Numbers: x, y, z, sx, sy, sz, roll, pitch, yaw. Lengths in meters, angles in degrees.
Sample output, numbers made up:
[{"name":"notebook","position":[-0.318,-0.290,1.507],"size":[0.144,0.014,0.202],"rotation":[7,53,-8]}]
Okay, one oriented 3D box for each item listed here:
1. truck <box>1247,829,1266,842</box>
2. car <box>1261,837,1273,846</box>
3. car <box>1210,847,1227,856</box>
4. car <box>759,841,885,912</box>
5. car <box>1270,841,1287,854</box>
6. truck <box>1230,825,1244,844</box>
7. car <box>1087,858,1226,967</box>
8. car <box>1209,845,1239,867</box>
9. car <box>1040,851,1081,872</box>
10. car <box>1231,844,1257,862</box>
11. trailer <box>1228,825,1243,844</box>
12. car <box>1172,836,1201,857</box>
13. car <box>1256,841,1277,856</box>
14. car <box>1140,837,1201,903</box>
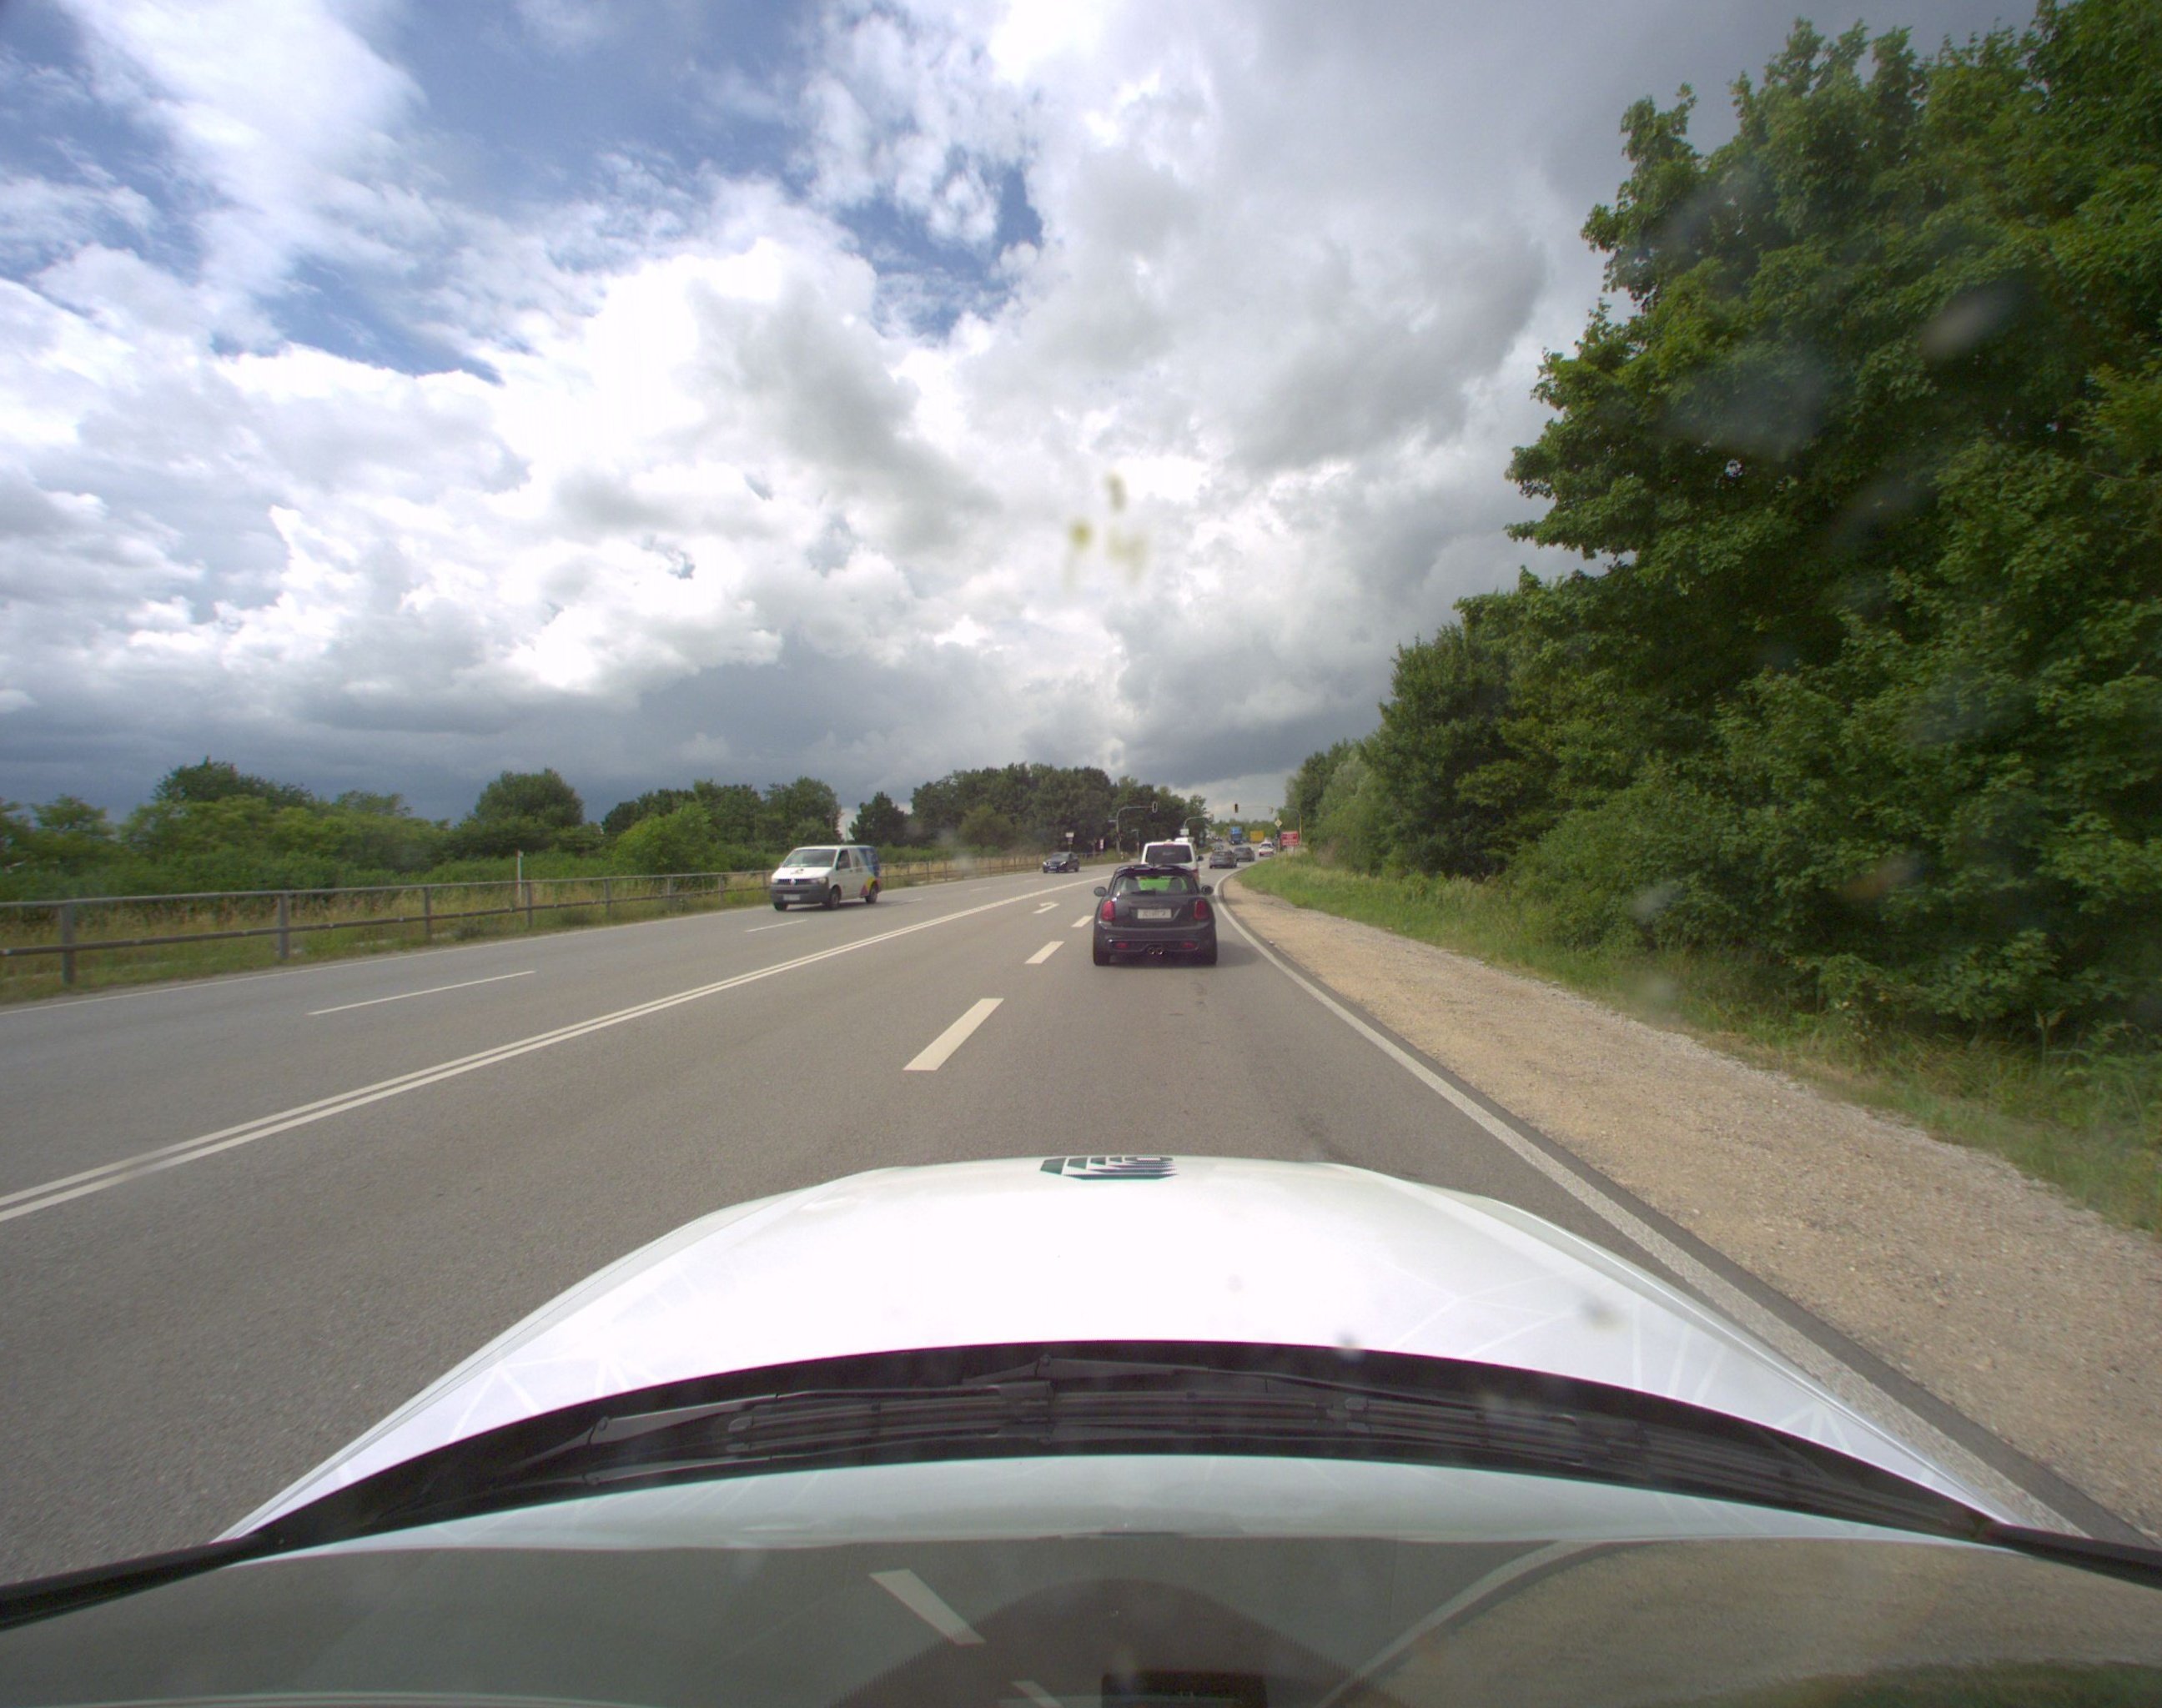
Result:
[{"name":"truck","position":[40.299,-4.219,187.666],"size":[2.706,2.897,8.775],"rotation":[-1,0,2]},{"name":"car","position":[38.788,-2.545,169.830],"size":[1.983,1.787,4.493],"rotation":[-2,1,6]},{"name":"car","position":[23.567,-0.460,139.520],"size":[1.929,1.441,4.021],"rotation":[-1,0,21]},{"name":"car","position":[-8.039,0.657,25.821],"size":[1.982,2.013,4.677],"rotation":[-1,0,7]},{"name":"car","position":[27.768,-0.897,114.374],"size":[1.977,1.684,4.018],"rotation":[0,-1,18]},{"name":"truck","position":[35.169,-4.375,183.180],"size":[2.529,4.096,4.004],"rotation":[-1,0,3]},{"name":"car","position":[1.185,0.795,12.827],"size":[1.836,1.428,3.847],"rotation":[-1,0,5]},{"name":"car","position":[11.149,0.192,63.141],"size":[1.979,1.684,4.015],"rotation":[0,-1,14]},{"name":"car","position":[-1.436,0.495,59.554],"size":[1.795,1.441,4.371],"rotation":[-1,0,15]},{"name":"car","position":[16.157,-0.101,80.627],"size":[1.977,1.684,3.996],"rotation":[0,-1,18]},{"name":"trailer","position":[35.380,-4.427,186.536],"size":[2.516,4.100,6.742],"rotation":[-1,0,4]},{"name":"car","position":[13.715,-0.977,105.223],"size":[2.414,2.674,6.921],"rotation":[-1,0,19]},{"name":"car","position":[22.051,-0.638,96.736],"size":[1.978,1.684,4.018],"rotation":[0,-1,18]},{"name":"car","position":[2.960,0.489,26.694],"size":[1.835,1.987,3.849],"rotation":[-1,0,7]}]
